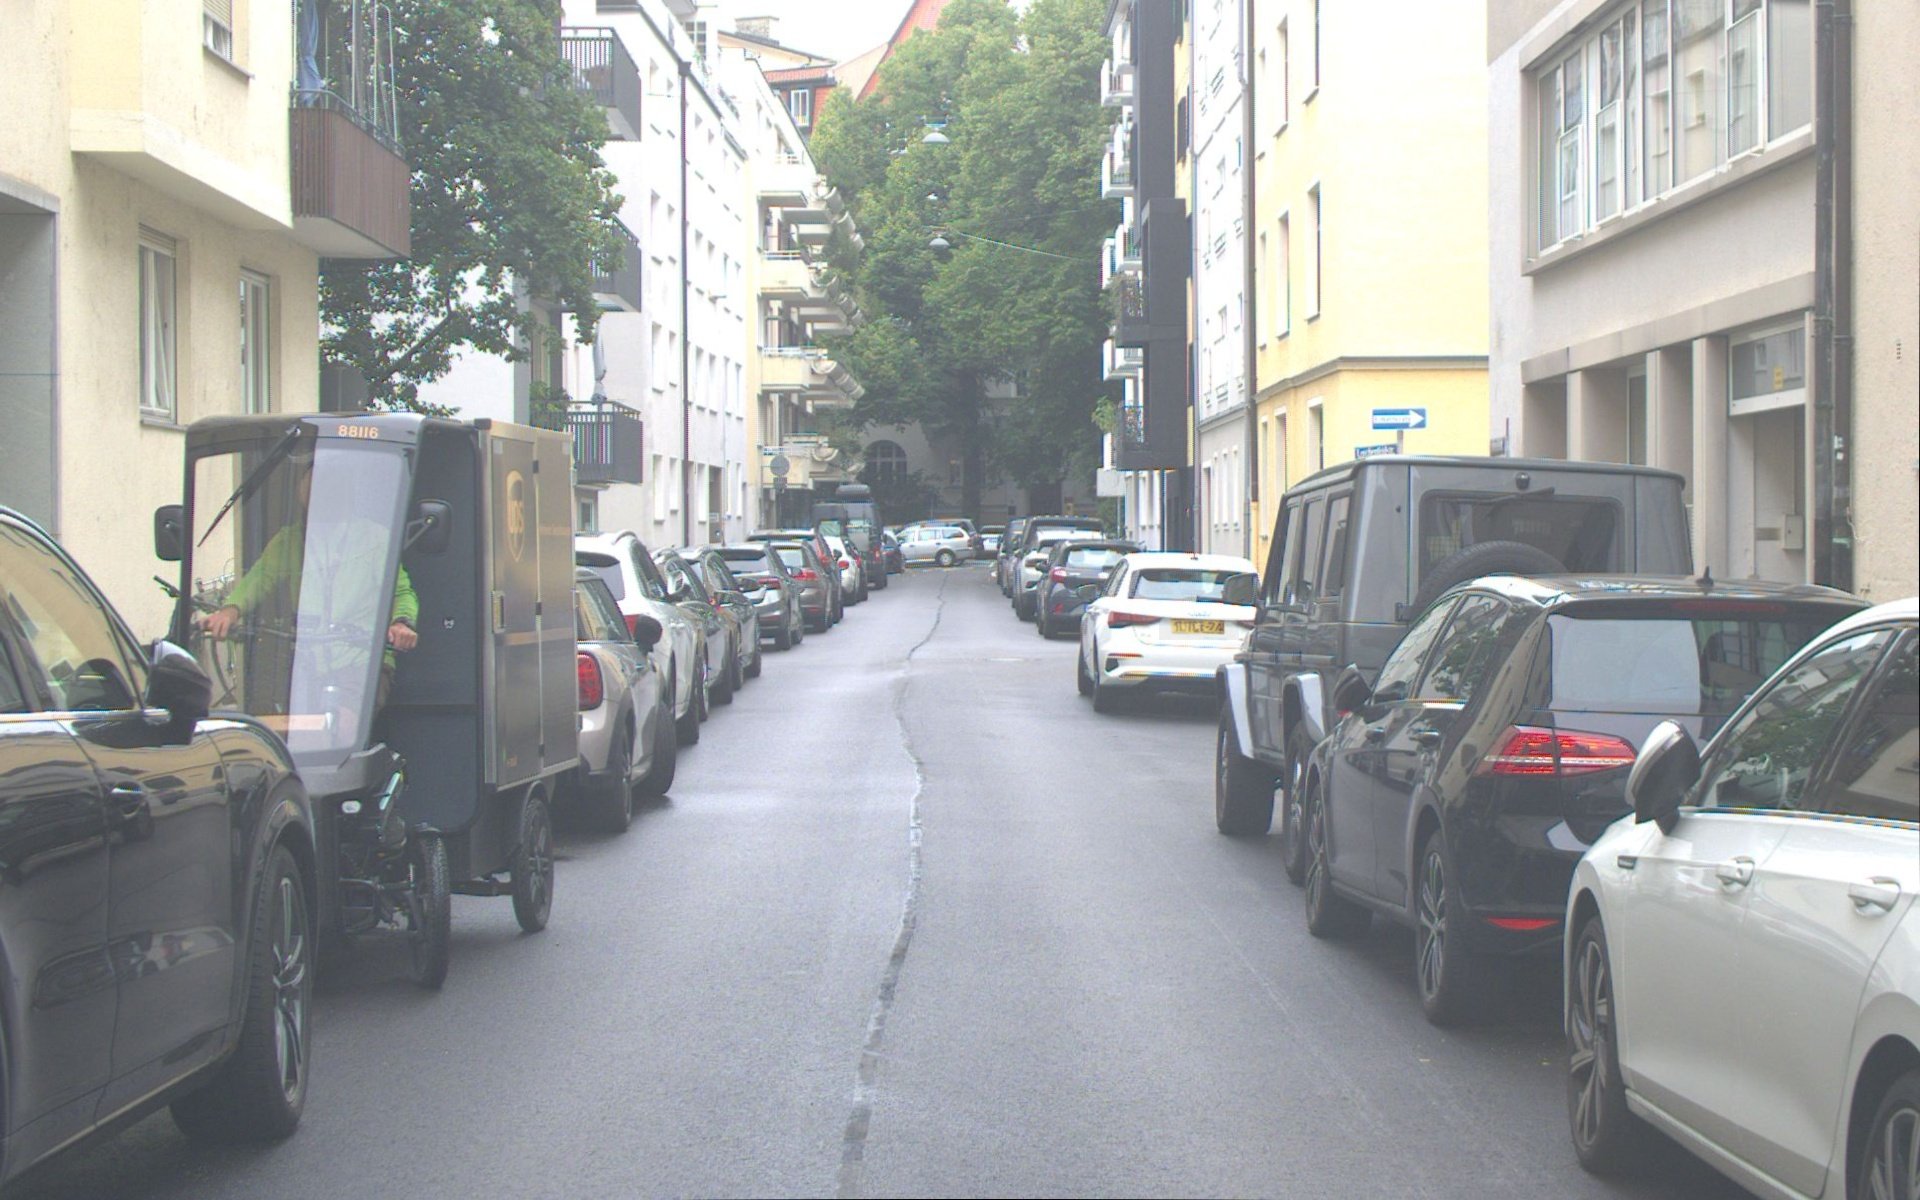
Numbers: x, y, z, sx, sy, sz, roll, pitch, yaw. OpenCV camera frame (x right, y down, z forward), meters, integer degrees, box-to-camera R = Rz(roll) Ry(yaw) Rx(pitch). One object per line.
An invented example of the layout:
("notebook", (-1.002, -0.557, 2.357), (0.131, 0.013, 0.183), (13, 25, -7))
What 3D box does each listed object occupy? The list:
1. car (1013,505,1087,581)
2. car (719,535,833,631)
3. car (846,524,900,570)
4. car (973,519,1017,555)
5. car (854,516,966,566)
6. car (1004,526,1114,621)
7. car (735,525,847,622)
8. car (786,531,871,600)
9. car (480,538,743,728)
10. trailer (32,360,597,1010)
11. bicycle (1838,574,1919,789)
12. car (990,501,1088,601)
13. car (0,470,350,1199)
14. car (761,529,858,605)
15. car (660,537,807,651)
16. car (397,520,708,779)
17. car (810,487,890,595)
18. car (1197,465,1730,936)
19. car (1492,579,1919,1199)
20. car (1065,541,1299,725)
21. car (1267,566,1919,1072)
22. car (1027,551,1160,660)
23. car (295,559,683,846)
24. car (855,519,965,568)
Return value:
("car", (2.500, -1.599, 96.426), (1.829, 1.992, 4.416), (3, 1, -1))
("car", (-2.906, -0.297, 54.888), (1.693, 1.437, 3.978), (-1, 1, -2))
("car", (-2.842, -1.746, 112.306), (1.642, 1.379, 3.483), (-3, 1, 0))
("car", (1.423, -2.569, 139.415), (1.642, 1.379, 3.746), (-3, 1, 0))
("car", (-1.786, -2.089, 122.169), (3.885, 1.579, 1.648), (-3, 1, -1))
("car", (1.753, -0.503, 62.125), (1.682, 1.562, 4.416), (2, 1, -1))
("car", (-2.947, -0.501, 60.792), (1.776, 1.623, 4.415), (-1, 1, -1))
("car", (-2.993, -0.820, 79.035), (1.777, 1.448, 4.046), (-3, 1, 0))
("car", (-2.981, 0.229, 30.244), (1.766, 1.478, 4.424), (-1, 2, 1))
("trailer", (-2.285, 0.263, 12.884), (1.355, 2.108, 3.318), (0, 0, 2))
("bicycle", (5.002, 0.392, 17.259), (0.644, 1.025, 1.797), (-4, 1, -1))
("car", (1.565, -1.021, 69.873), (1.829, 1.903, 4.416), (2, 1, 0))
("car", (-2.636, 0.594, 7.043), (1.879, 1.654, 4.415), (-1, 1, 1))
("car", (-3.183, -0.721, 73.522), (1.777, 1.482, 4.519), (-3, 1, 1))
("car", (-3.059, -0.109, 46.988), (1.693, 1.437, 3.942), (-1, 1, 0))
("car", (-2.821, 0.291, 24.661), (1.766, 1.669, 4.368), (-1, 1, -1))
("car", (-2.973, -1.628, 93.708), (1.936, 2.792, 4.533), (-3, 1, 0))
("car", (2.324, 0.379, 17.020), (1.750, 1.968, 4.343), (2, 1, -2))
("car", (2.381, 0.723, 7.097), (1.711, 1.481, 4.245), (1, 1, -2))
("car", (2.003, 0.253, 32.090), (1.819, 1.403, 3.953), (1, 4, -1))
("car", (2.251, 0.637, 12.365), (1.711, 1.481, 4.245), (1, 1, -2))
("car", (1.985, 0.046, 52.121), (1.751, 1.464, 4.343), (2, 1, -1))
("car", (-2.550, 0.499, 19.411), (1.652, 1.431, 3.803), (-1, 1, 0))
("car", (-1.821, -2.048, 124.176), (3.885, 1.579, 1.648), (-3, 1, -1))
